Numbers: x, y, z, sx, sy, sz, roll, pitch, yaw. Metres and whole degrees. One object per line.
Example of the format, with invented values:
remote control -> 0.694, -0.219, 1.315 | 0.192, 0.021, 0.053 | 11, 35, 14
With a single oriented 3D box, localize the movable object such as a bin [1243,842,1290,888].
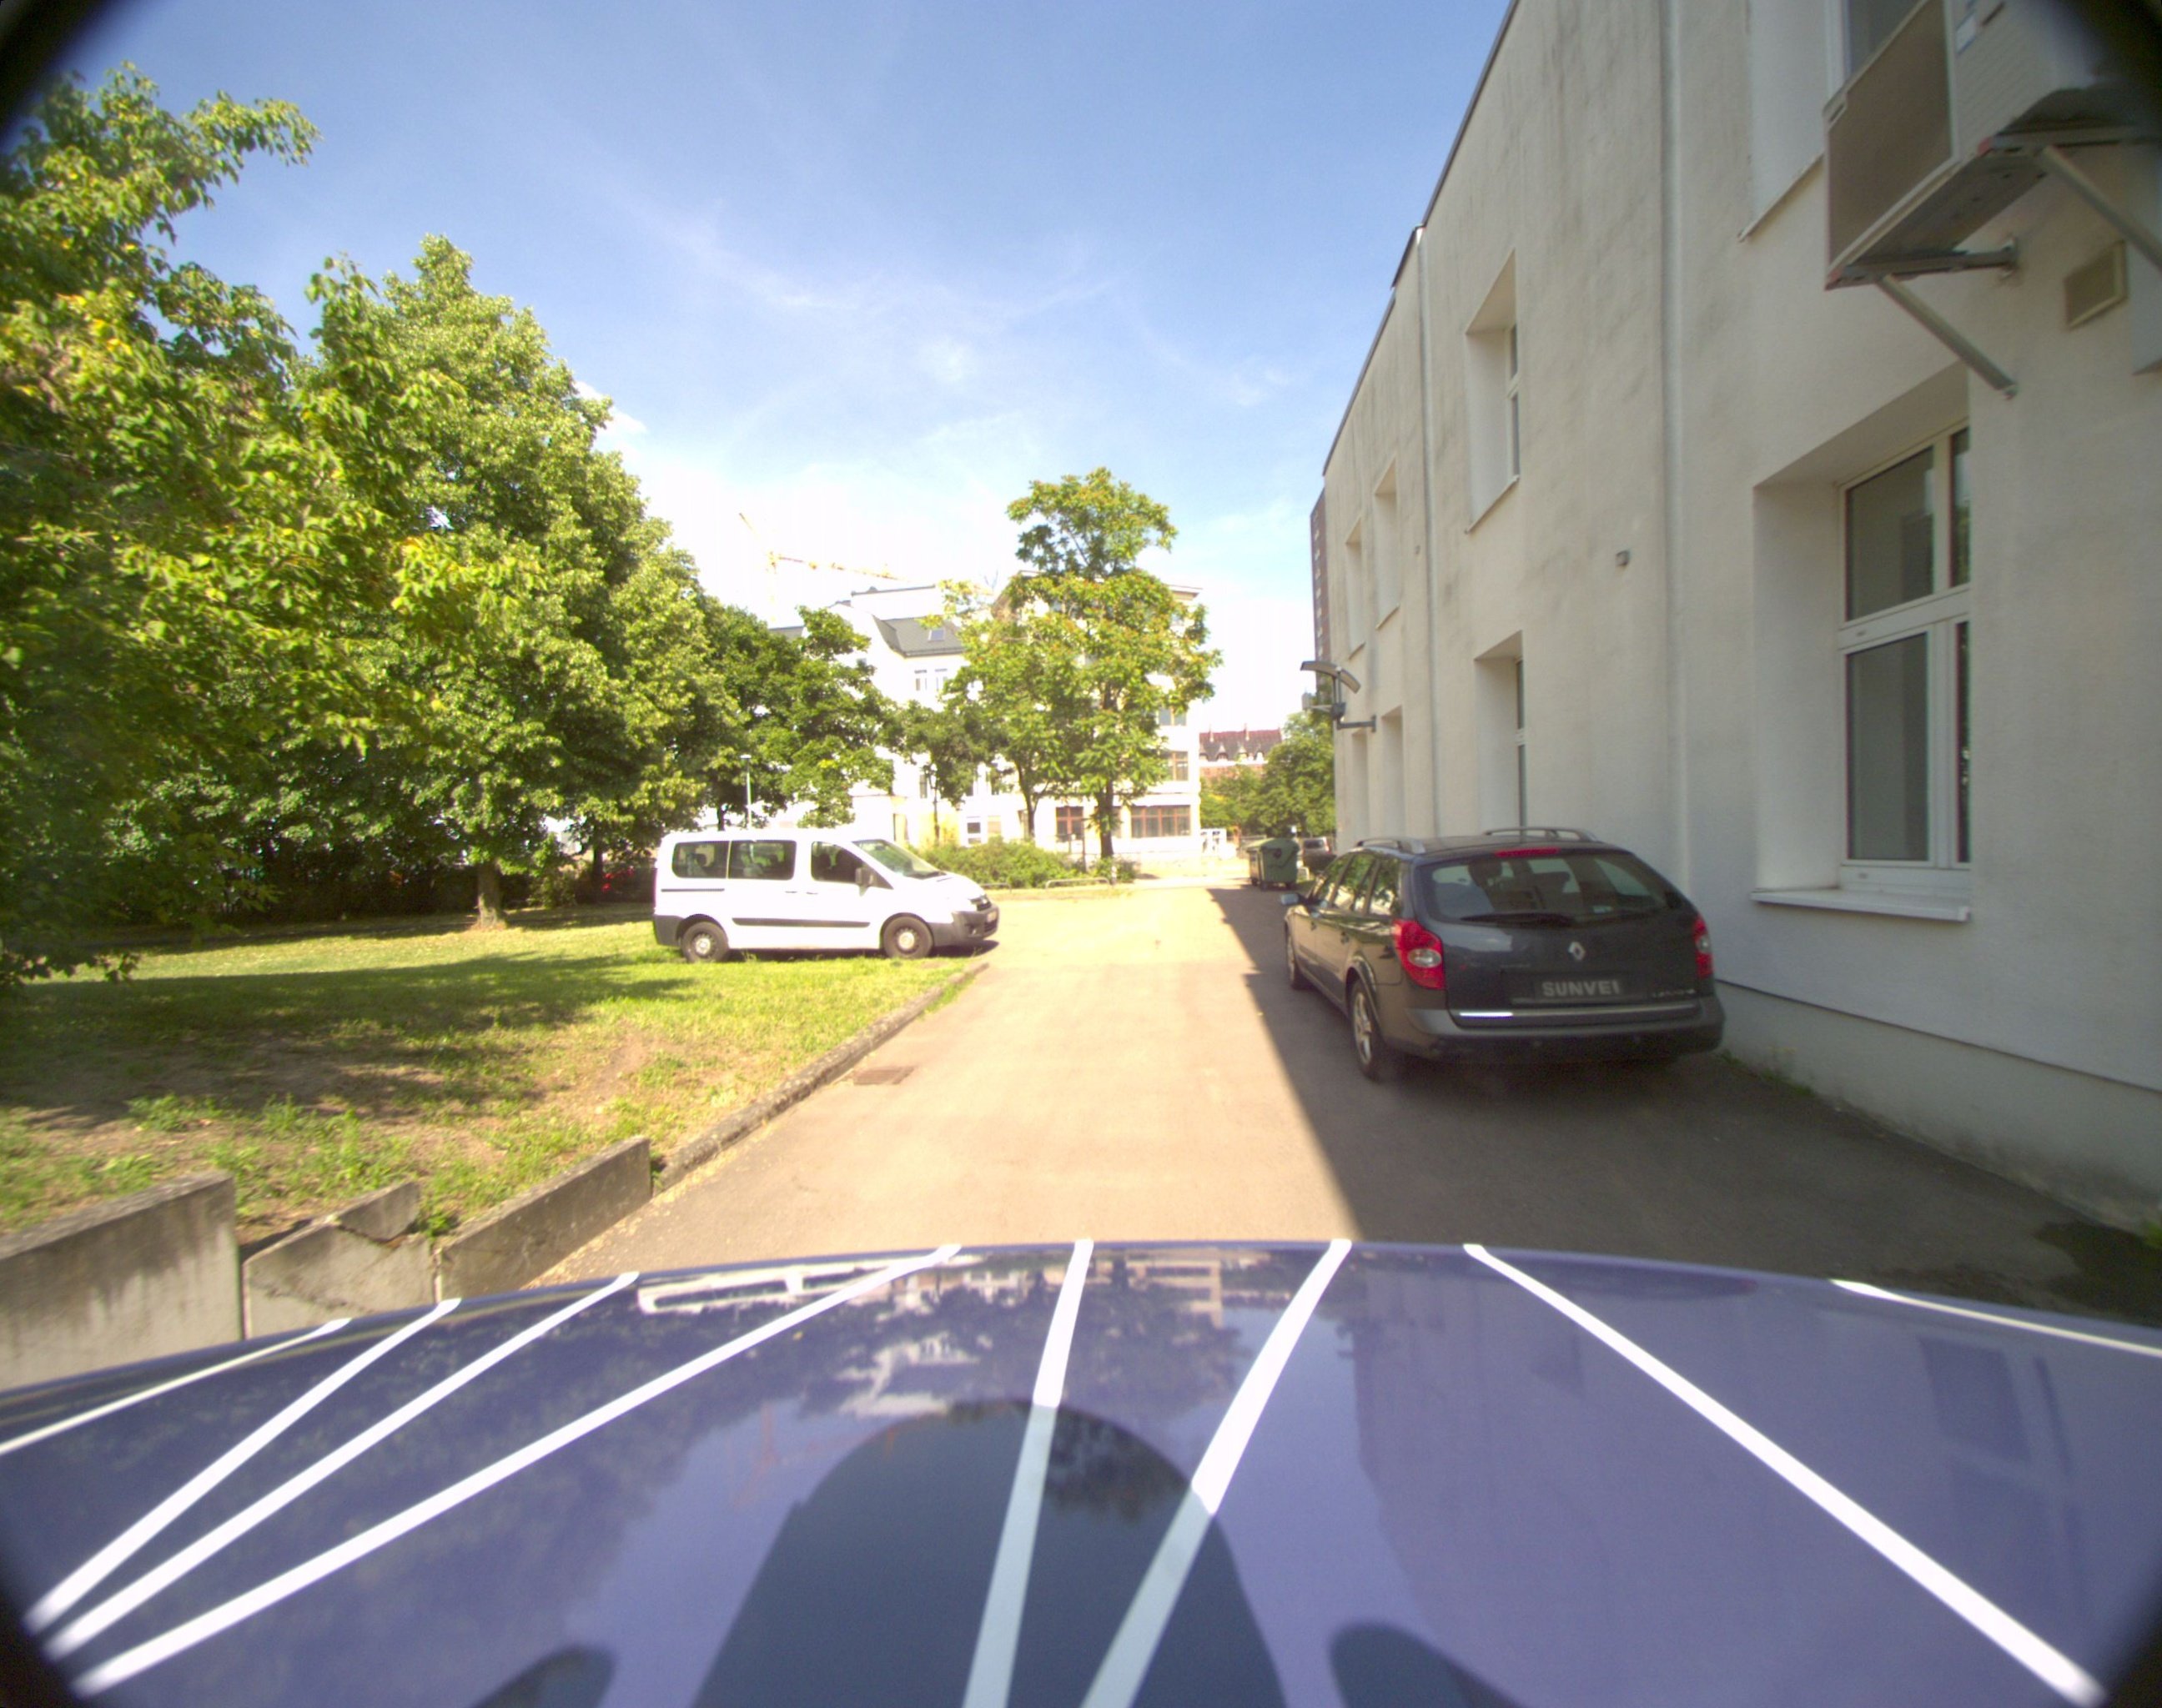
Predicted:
movable object such as a bin -> 6.162, 0.348, 25.338 | 1.247, 1.473, 1.339 | -2, 1, 2

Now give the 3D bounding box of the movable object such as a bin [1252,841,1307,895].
movable object such as a bin -> 5.481, 0.370, 21.080 | 1.247, 1.423, 1.350 | -2, 1, 7

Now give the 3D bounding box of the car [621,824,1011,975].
car -> -3.775, 0.638, 11.284 | 5.033, 1.922, 2.001 | -2, 1, 8

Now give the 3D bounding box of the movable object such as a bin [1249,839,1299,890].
movable object such as a bin -> 5.714, 0.301, 22.573 | 1.247, 1.423, 1.366 | -2, 1, 7

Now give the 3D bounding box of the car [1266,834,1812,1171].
car -> 2.670, 0.674, 5.787 | 1.840, 1.434, 4.430 | -4, 2, 7

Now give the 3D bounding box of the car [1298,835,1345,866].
car -> 15.419, -0.232, 48.580 | 1.917, 1.770, 4.320 | -3, 0, 29

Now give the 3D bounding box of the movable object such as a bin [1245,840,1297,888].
movable object such as a bin -> 5.956, 0.293, 23.942 | 1.248, 1.423, 1.223 | -2, 1, -4

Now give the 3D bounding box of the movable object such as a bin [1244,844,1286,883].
movable object such as a bin -> 7.007, 0.351, 28.865 | 1.245, 1.389, 1.406 | -1, 1, 25
